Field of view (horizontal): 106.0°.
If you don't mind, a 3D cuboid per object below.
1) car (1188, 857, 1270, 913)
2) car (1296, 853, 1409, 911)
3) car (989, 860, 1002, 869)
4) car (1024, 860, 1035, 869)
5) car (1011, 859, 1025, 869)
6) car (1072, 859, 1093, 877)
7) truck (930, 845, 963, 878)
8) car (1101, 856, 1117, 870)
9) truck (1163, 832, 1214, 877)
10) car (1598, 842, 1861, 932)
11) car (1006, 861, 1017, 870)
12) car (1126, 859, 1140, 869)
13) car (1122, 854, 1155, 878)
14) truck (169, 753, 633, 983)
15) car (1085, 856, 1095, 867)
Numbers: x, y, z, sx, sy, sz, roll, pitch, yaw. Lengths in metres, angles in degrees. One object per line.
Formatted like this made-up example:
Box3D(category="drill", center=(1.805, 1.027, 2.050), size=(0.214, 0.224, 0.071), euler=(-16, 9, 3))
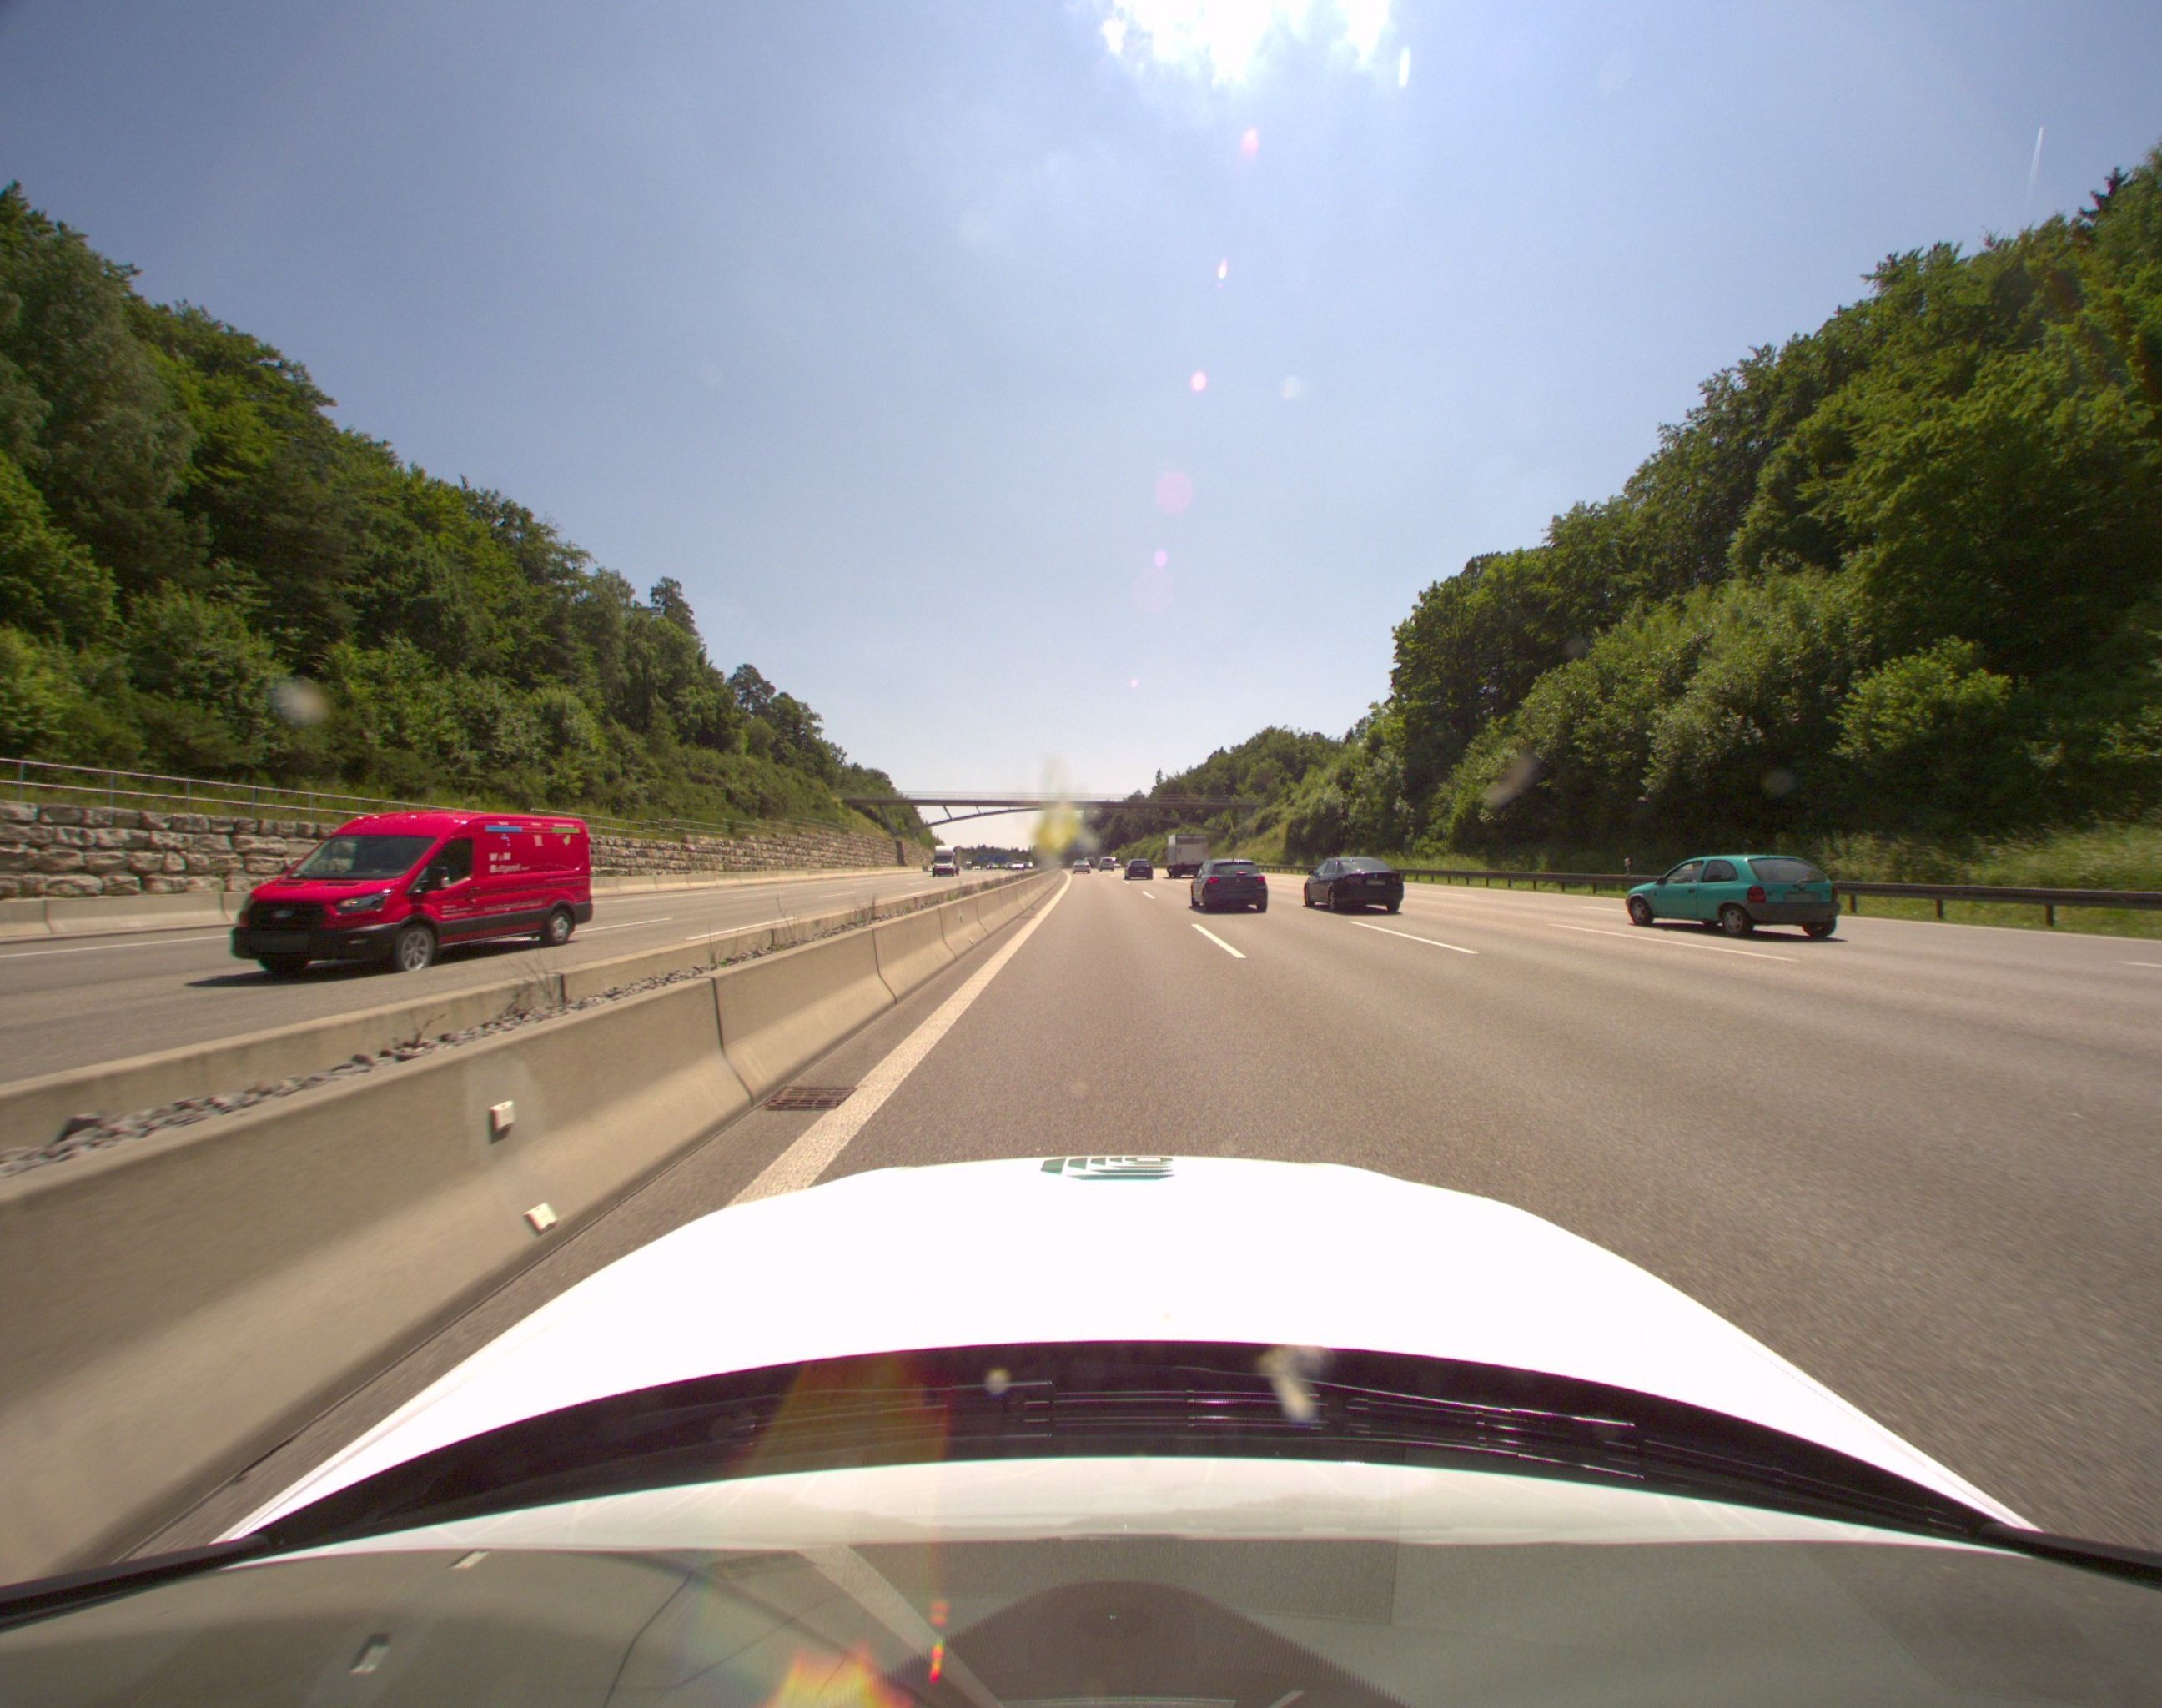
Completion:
Box3D(category="car", center=(4.134, 0.821, 23.307), size=(1.702, 1.433, 4.001), euler=(0, 0, 1))
Box3D(category="car", center=(7.354, 0.697, 22.591), size=(1.659, 1.408, 4.906), euler=(-1, 0, 2))
Box3D(category="car", center=(-16.894, 2.060, 161.068), size=(1.987, 1.618, 3.999), euler=(-1, 0, 0))
Box3D(category="car", center=(-10.621, 2.146, 166.787), size=(1.987, 1.618, 3.999), euler=(-1, 0, 0))
Box3D(category="car", center=(-9.973, 1.521, 128.320), size=(1.895, 1.496, 4.802), euler=(-1, 0, -1))
Box3D(category="car", center=(0.139, 1.550, 88.250), size=(2.008, 1.846, 3.994), euler=(0, -4, -3))
Box3D(category="truck", center=(-13.455, 0.718, 81.862), size=(2.270, 3.143, 6.915), euler=(0, 0, -1))
Box3D(category="car", center=(3.737, 1.154, 108.213), size=(2.095, 1.744, 4.690), euler=(-1, 0, 2))
Box3D(category="truck", center=(7.984, 0.056, 61.420), size=(2.974, 3.167, 7.577), euler=(-1, 0, 2))
Box3D(category="car", center=(11.960, 0.556, 15.457), size=(1.539, 1.444, 4.340), euler=(-1, 0, 0))
Box3D(category="car", center=(-12.509, 2.044, 146.996), size=(1.649, 1.550, 3.998), euler=(1, 1, -2))
Box3D(category="car", center=(8.704, 1.621, 136.119), size=(1.988, 1.593, 3.998), euler=(1, -1, -1))
Box3D(category="car", center=(4.011, 0.836, 57.782), size=(1.987, 1.634, 4.759), euler=(-1, 0, 0))
Box3D(category="truck", center=(-10.752, 0.135, 14.073), size=(2.103, 2.976, 7.014), euler=(0, 1, 0))
Box3D(category="car", center=(2.038, 1.675, 181.322), size=(2.257, 2.371, 4.701), euler=(-1, -1, 0))
